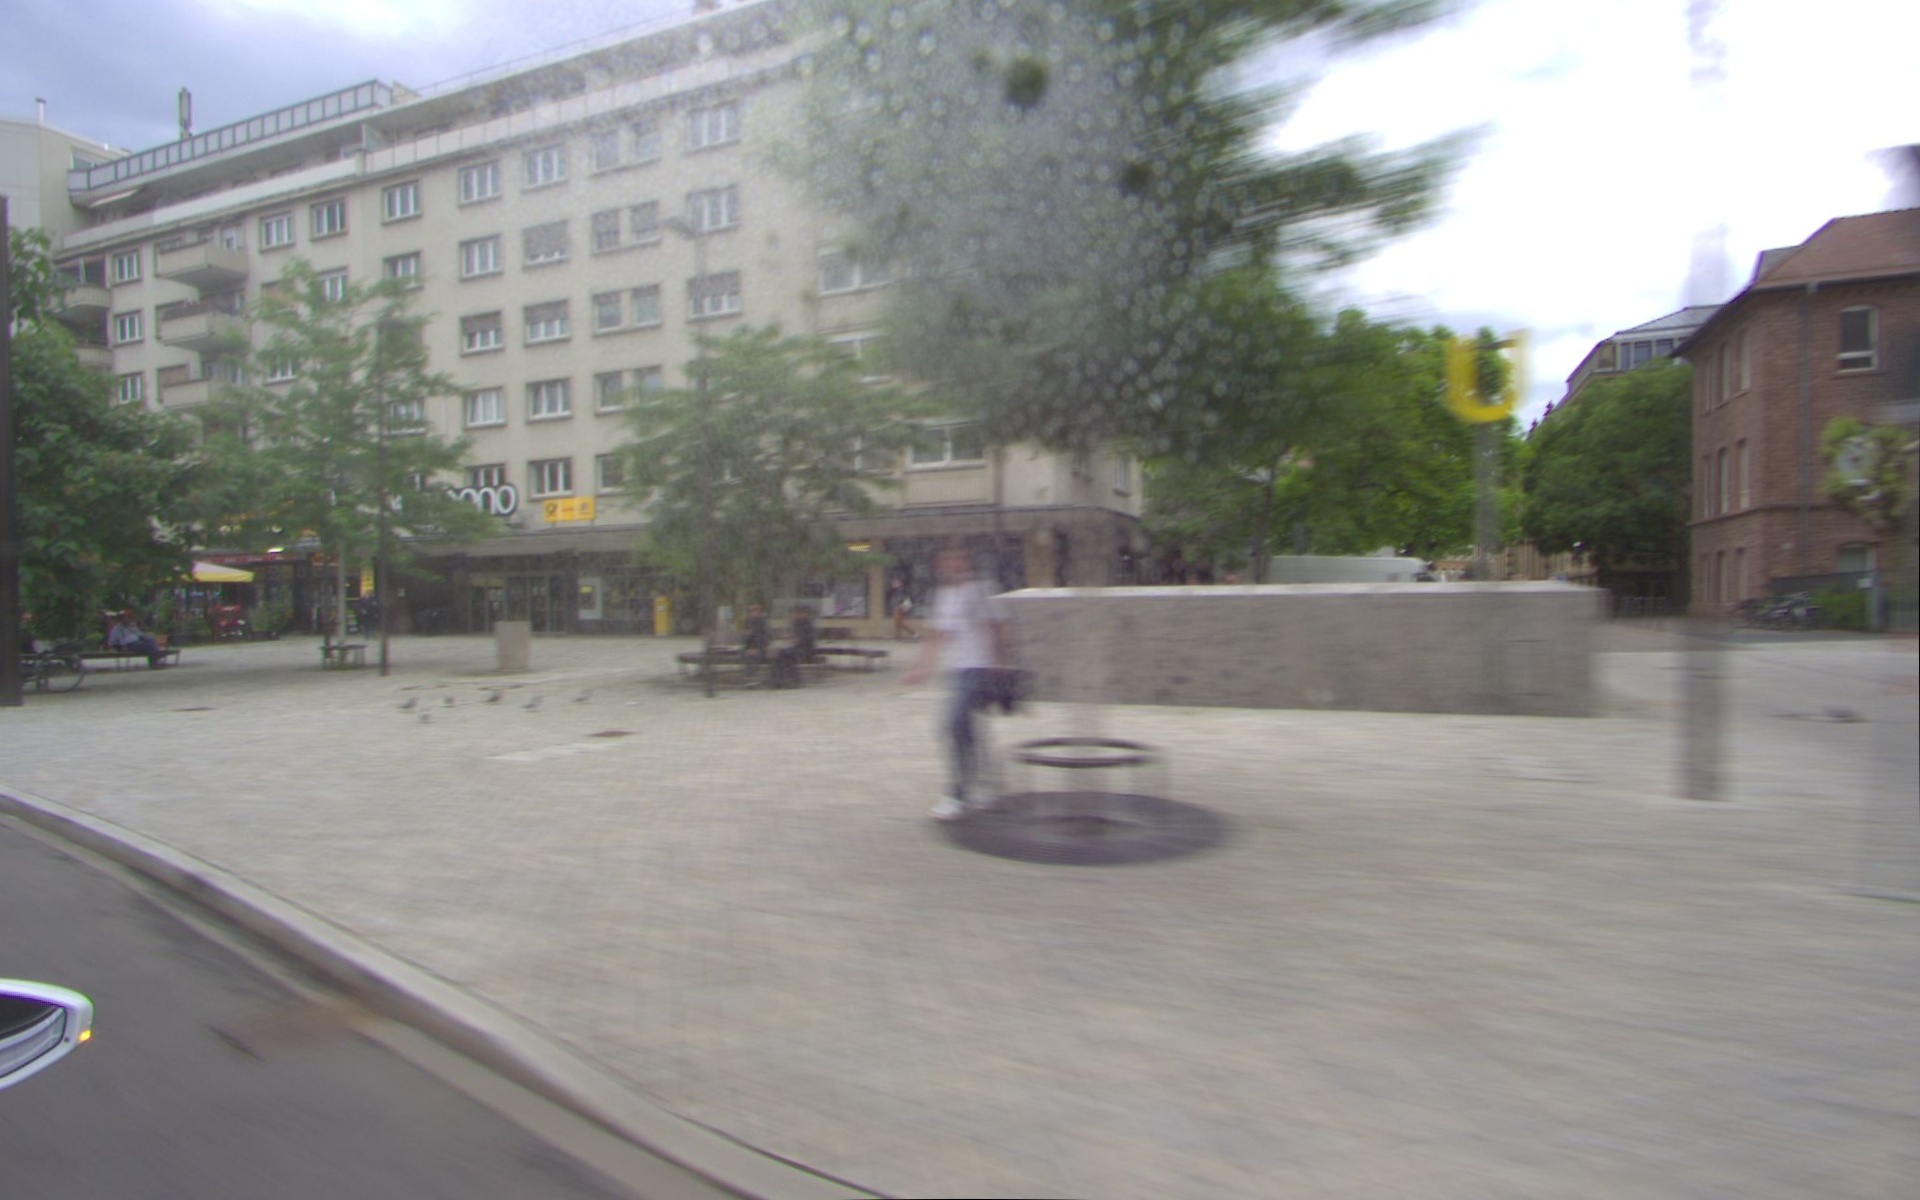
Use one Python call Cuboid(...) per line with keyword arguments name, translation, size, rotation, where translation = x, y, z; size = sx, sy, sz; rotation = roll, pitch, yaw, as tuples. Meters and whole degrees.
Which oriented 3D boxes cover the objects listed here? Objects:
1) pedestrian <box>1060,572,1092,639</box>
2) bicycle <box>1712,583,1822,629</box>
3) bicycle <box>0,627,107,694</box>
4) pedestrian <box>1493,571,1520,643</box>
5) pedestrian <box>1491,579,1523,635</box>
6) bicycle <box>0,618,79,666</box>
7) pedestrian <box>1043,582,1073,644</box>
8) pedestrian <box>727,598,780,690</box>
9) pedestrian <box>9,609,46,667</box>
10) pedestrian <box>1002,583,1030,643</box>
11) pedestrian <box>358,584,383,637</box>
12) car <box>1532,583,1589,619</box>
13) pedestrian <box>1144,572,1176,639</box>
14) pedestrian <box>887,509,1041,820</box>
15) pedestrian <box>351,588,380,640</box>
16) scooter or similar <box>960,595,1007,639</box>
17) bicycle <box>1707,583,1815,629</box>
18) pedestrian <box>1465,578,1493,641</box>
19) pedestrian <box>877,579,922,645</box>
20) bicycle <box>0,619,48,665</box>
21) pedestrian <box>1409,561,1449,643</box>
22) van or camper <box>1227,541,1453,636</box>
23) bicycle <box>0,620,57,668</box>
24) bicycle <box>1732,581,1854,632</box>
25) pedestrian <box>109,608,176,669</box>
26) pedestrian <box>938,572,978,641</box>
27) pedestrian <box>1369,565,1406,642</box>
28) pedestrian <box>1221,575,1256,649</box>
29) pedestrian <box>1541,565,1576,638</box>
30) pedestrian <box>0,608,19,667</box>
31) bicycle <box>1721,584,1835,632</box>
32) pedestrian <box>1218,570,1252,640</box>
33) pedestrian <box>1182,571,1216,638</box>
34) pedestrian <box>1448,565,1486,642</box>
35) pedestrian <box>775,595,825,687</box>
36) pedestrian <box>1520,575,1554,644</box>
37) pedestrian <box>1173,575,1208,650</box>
Cuboid(name="pedestrian", translation=(3.123, 0.146, 27.054), size=(0.583, 1.792, 0.639), rotation=(0, 2, -31))
Cuboid(name="bicycle", translation=(25.201, 0.189, 31.335), size=(2.622, 1.417, 0.586), rotation=(0, 1, 32))
Cuboid(name="bicycle", translation=(-16.509, 1.057, 17.833), size=(0.636, 1.137, 1.909), rotation=(0, -1, 34))
Cuboid(name="pedestrian", translation=(14.865, 0.201, 27.241), size=(0.524, 1.914, 0.663), rotation=(0, 0, 19))
Cuboid(name="pedestrian", translation=(16.298, 0.210, 29.817), size=(0.652, 1.642, 0.533), rotation=(0, 0, -16))
Cuboid(name="bicycle", translation=(-23.618, 1.053, 25.584), size=(0.471, 1.126, 1.594), rotation=(0, 2, 38))
Cuboid(name="pedestrian", translation=(2.590, 0.345, 26.439), size=(0.631, 1.608, 0.591), rotation=(0, 2, -9))
Cuboid(name="pedestrian", translation=(-3.473, 0.722, 16.900), size=(0.753, 1.475, 0.779), rotation=(-2, 3, -6))
Cuboid(name="pedestrian", translation=(-22.795, 0.921, 24.472), size=(1.265, 1.384, 0.540), rotation=(-1, -1, 41))
Cuboid(name="pedestrian", translation=(1.522, 0.343, 27.312), size=(0.631, 1.608, 0.591), rotation=(0, 2, -9))
Cuboid(name="pedestrian", translation=(-21.555, 0.394, 36.616), size=(0.764, 1.909, 0.848), rotation=(0, 0, -28))
Cuboid(name="car", translation=(27.958, 0.075, 46.732), size=(1.773, 1.583, 3.987), rotation=(0, -1, 23))
Cuboid(name="pedestrian", translation=(5.168, 0.127, 25.886), size=(0.584, 1.693, 0.638), rotation=(2, 2, 39))
Cuboid(name="pedestrian", translation=(0.052, 0.393, 6.736), size=(0.760, 1.927, 0.869), rotation=(0, 2, 22))
Cuboid(name="pedestrian", translation=(-20.831, 0.479, 35.116), size=(0.764, 1.776, 0.714), rotation=(-2, 3, -28))
Cuboid(name="scooter or similar", translation=(0.668, 0.482, 29.147), size=(0.496, 1.220, 1.423), rotation=(-3, 3, -42))
Cuboid(name="bicycle", translation=(25.655, 0.187, 32.131), size=(2.622, 1.417, 0.586), rotation=(0, 1, 32))
Cuboid(name="pedestrian", translation=(14.213, 0.267, 27.422), size=(0.524, 1.700, 0.663), rotation=(0, 0, 14))
Cuboid(name="pedestrian", translation=(-1.671, 0.325, 27.641), size=(1.047, 1.797, 0.772), rotation=(0, 2, 12))
Cuboid(name="bicycle", translation=(-24.474, 1.082, 25.304), size=(0.471, 1.126, 2.025), rotation=(0, 2, 38))
Cuboid(name="pedestrian", translation=(9.842, 0.044, 21.010), size=(0.585, 1.693, 0.509), rotation=(2, 2, 45))
Cuboid(name="van or camper", translation=(11.789, -0.294, 31.358), size=(6.451, 2.755, 1.995), rotation=(0, -1, 24))
Cuboid(name="bicycle", translation=(-23.519, 1.093, 24.816), size=(0.471, 1.126, 1.594), rotation=(0, 2, 38))
Cuboid(name="bicycle", translation=(23.902, 0.195, 28.786), size=(2.622, 1.417, 0.586), rotation=(0, 1, 32))
Cuboid(name="pedestrian", translation=(-19.094, 0.896, 23.391), size=(1.386, 1.384, 0.628), rotation=(0, -1, 22))
Cuboid(name="pedestrian", translation=(-0.040, 0.181, 28.426), size=(1.046, 1.927, 0.772), rotation=(0, 2, 5))
Cuboid(name="pedestrian", translation=(9.531, 0.072, 22.332), size=(0.509, 1.693, 0.586), rotation=(-1, 2, -43))
Cuboid(name="pedestrian", translation=(6.471, 0.280, 23.260), size=(0.585, 1.693, 0.509), rotation=(2, 2, 44))
Cuboid(name="pedestrian", translation=(17.025, 0.062, 28.497), size=(0.807, 2.040, 0.757), rotation=(0, 0, 26))
Cuboid(name="pedestrian", translation=(-22.623, 0.874, 23.548), size=(0.908, 1.384, 0.625), rotation=(0, -1, 41))
Cuboid(name="bicycle", translation=(24.842, 0.232, 30.479), size=(2.622, 1.417, 0.586), rotation=(0, 1, 32))
Cuboid(name="pedestrian", translation=(6.752, 0.122, 24.583), size=(0.509, 1.693, 0.586), rotation=(-1, 2, -43))
Cuboid(name="pedestrian", translation=(6.171, 0.105, 25.821), size=(0.585, 1.693, 0.637), rotation=(2, 2, 44))
Cuboid(name="pedestrian", translation=(11.272, 0.071, 22.256), size=(0.585, 1.693, 0.509), rotation=(2, 2, 45))
Cuboid(name="pedestrian", translation=(-2.689, 0.670, 16.913), size=(0.753, 1.475, 0.779), rotation=(-2, 3, -6))
Cuboid(name="pedestrian", translation=(15.128, 0.246, 26.256), size=(0.620, 1.780, 0.663), rotation=(0, 0, 14))
Cuboid(name="pedestrian", translation=(5.327, 0.276, 23.110), size=(0.585, 1.693, 0.509), rotation=(2, 2, 44))
